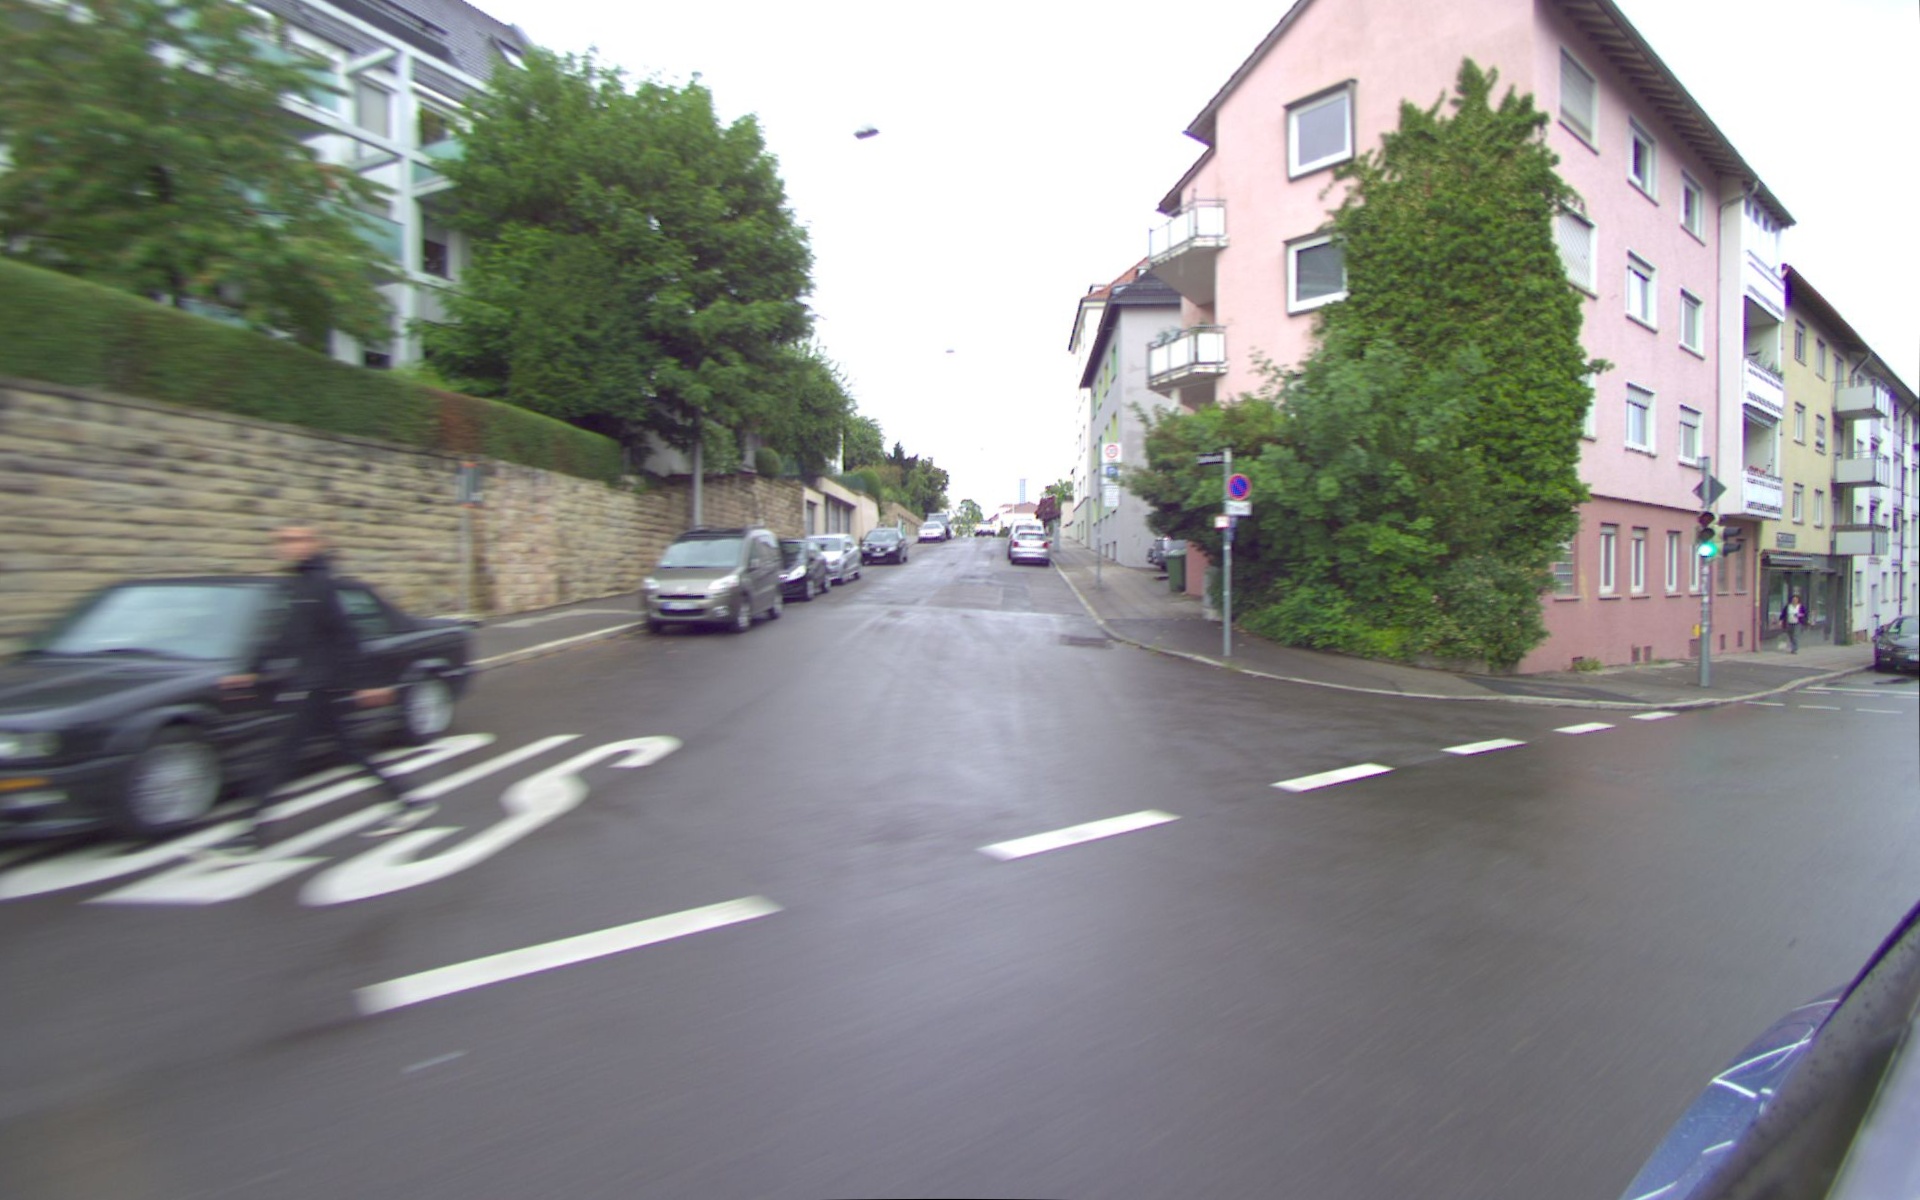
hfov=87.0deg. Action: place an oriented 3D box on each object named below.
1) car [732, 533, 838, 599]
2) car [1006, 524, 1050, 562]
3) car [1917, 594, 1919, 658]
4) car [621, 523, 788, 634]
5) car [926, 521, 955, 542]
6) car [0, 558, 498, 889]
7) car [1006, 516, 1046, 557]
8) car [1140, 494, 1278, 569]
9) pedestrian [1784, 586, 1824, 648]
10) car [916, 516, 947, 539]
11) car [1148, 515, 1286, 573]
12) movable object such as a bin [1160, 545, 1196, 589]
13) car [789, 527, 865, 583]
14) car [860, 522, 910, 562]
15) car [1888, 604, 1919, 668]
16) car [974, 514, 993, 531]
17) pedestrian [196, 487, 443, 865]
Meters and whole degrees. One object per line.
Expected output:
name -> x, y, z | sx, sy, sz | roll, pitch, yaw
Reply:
car -> -4.286, -0.921, 25.393 | 1.767, 1.471, 4.000 | 1, 5, 3
car -> 2.867, -2.477, 43.265 | 1.652, 1.471, 3.919 | 1, 5, 1
car -> 29.389, 0.767, 29.343 | 4.433, 1.796, 1.967 | 0, 1, -41
car -> -4.473, -0.512, 18.458 | 1.792, 1.760, 4.416 | 1, 5, 2
car -> -1.423, -5.065, 74.568 | 1.654, 1.471, 3.844 | -1, 5, 5
car -> -4.923, 0.466, 6.679 | 1.719, 1.409, 4.279 | 0, 3, 1
car -> 3.101, -3.064, 48.045 | 1.652, 1.786, 3.919 | 1, 5, 1
car -> 9.020, -2.543, 37.105 | 4.513, 2.622, 2.336 | 1, 5, 4
pedestrian -> 25.190, 0.503, 30.214 | 0.735, 1.795, 0.715 | 1, 2, -41
car -> -1.928, -5.003, 69.891 | 1.654, 1.471, 3.844 | -1, 5, 5
car -> 8.728, -1.960, 34.660 | 4.185, 1.884, 1.954 | 0, 5, 2
movable object such as a bin -> 6.067, -0.922, 28.168 | 0.754, 1.171, 0.740 | 2, 5, 39
car -> -3.970, -1.434, 30.867 | 1.652, 1.471, 4.342 | -1, 5, 1
car -> -3.089, -2.471, 42.445 | 1.652, 1.471, 4.342 | -1, 5, 1
car -> 25.100, 0.889, 25.694 | 4.433, 1.539, 1.795 | 0, 0, -41
car -> 2.061, -6.849, 89.396 | 1.652, 1.471, 3.849 | -1, 5, 1
pedestrian -> -3.294, 0.334, 5.225 | 0.723, 1.736, 0.892 | 3, 2, 40
